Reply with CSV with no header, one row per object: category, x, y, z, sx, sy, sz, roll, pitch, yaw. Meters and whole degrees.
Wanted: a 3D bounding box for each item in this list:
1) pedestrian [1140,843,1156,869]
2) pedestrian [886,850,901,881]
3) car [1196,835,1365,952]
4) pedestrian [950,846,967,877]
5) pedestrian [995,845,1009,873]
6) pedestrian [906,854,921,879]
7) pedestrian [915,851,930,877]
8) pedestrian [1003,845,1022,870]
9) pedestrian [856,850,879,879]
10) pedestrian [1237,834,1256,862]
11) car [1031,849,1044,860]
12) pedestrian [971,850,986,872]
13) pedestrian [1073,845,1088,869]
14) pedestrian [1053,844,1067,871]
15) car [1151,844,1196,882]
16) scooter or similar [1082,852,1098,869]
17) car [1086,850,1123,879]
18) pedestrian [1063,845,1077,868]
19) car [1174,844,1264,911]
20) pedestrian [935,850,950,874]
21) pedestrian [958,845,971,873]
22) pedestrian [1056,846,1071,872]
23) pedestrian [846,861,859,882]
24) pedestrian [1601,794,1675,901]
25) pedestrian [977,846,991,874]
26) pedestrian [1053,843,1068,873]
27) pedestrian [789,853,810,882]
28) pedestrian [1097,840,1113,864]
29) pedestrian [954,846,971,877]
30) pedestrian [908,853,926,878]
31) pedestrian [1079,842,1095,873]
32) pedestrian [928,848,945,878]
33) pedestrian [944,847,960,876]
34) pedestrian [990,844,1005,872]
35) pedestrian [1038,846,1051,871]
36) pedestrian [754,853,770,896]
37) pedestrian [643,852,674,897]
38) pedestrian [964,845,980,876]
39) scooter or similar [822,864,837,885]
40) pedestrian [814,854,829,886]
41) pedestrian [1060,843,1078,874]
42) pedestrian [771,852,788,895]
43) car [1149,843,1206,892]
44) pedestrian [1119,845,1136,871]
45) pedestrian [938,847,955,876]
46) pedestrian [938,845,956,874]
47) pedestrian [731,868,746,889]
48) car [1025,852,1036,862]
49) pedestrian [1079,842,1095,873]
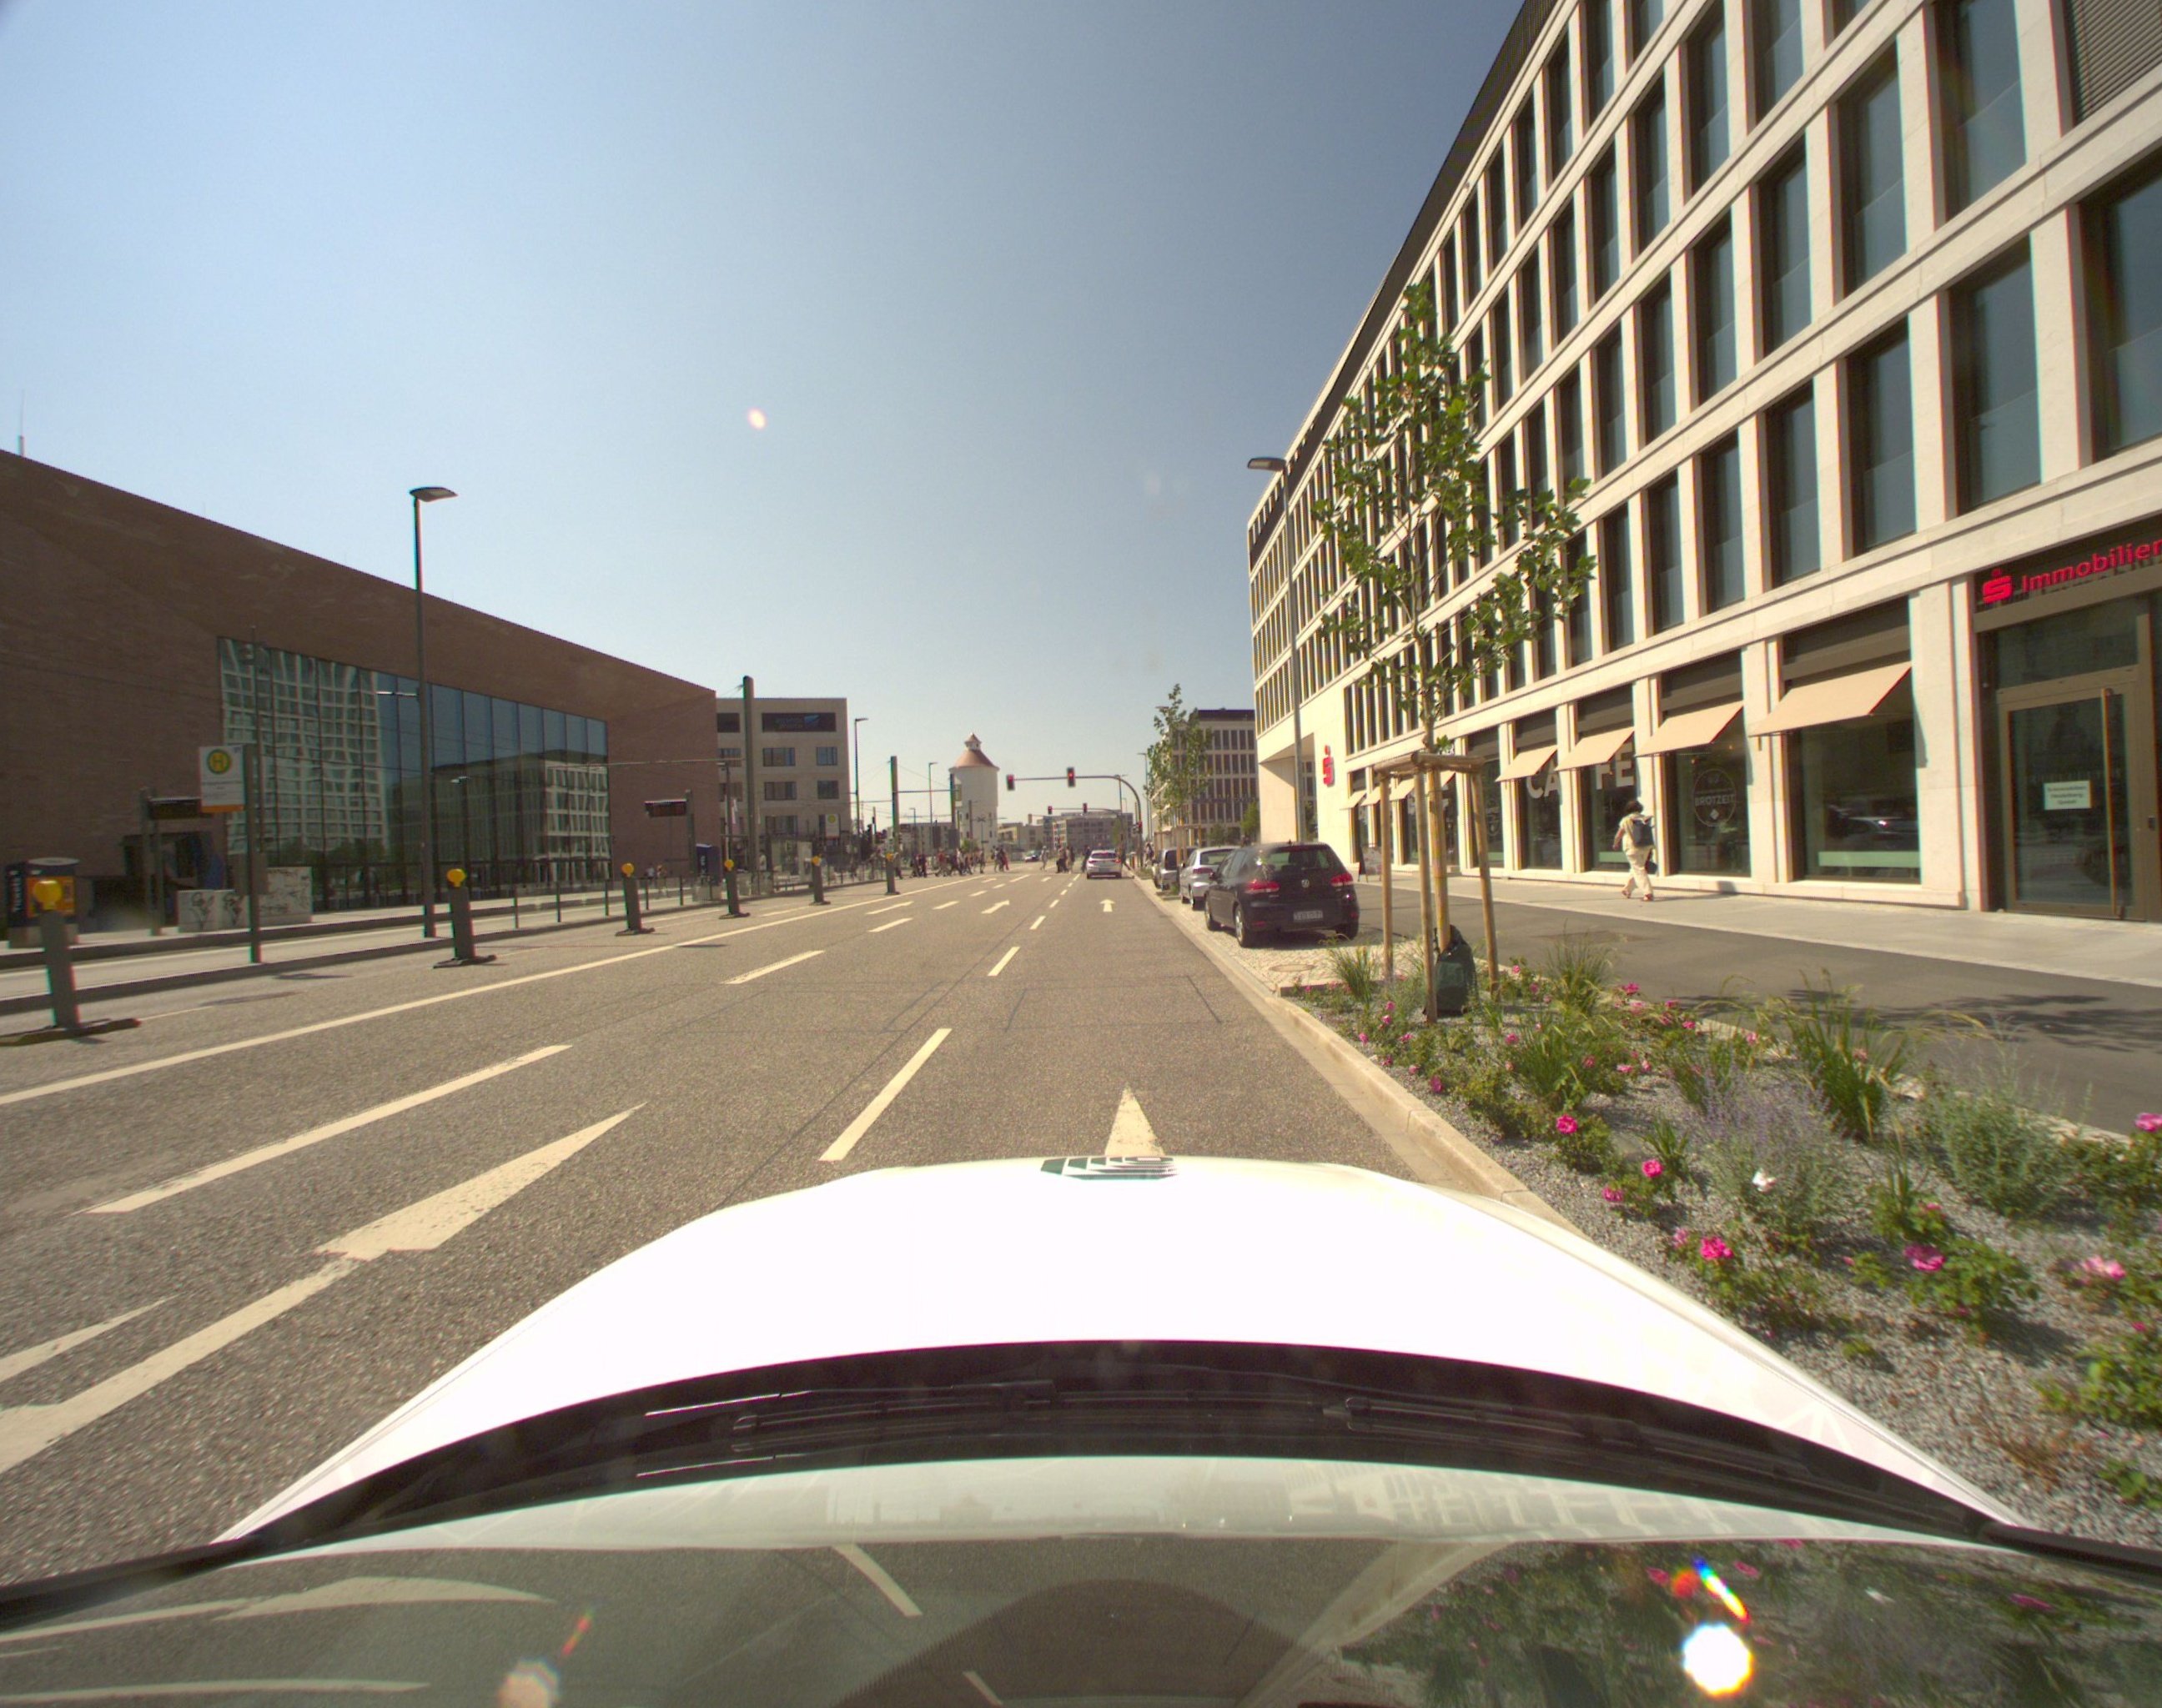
pedestrian,4.333,0.120,52.589,0.760,1.619,0.695,-3,0,18
pedestrian,-11.958,0.730,51.983,0.634,1.890,0.797,-3,0,3
car,3.023,0.520,13.192,1.730,1.474,3.981,-5,1,1
pedestrian,-7.681,0.467,50.944,0.886,1.890,0.691,-3,0,-4
pedestrian,-5.384,0.342,55.623,0.763,1.890,0.692,-3,0,2
pedestrian,-11.145,0.837,54.069,0.724,1.576,0.642,-3,0,6
pedestrian,-10.188,0.663,52.476,0.630,1.618,0.770,-3,0,7
pedestrian,-5.247,0.246,62.379,1.175,1.820,1.070,-3,0,5
pedestrian,-14.859,0.731,56.675,1.164,1.890,1.061,-3,2,3
pedestrian,10.402,-0.387,51.180,0.986,1.655,0.692,-3,0,3
car,-6.349,0.111,119.077,1.581,1.530,3.693,-2,0,0
pedestrian,-7.811,0.520,62.343,0.883,1.646,0.798,-3,0,5
pedestrian,-0.056,0.236,57.655,0.883,1.646,0.798,-3,0,5
pedestrian,-1.387,0.243,54.077,0.763,1.733,0.692,-3,0,2
car,3.738,0.314,33.310,1.424,1.390,4.001,-3,1,1
scooter or similar,0.619,0.439,56.629,0.950,1.117,0.765,-3,0,-8
car,1.254,0.556,42.031,1.764,1.395,3.535,-2,-1,3
pedestrian,-0.851,0.183,61.321,0.883,1.646,0.798,-3,0,5
car,3.374,0.514,20.494,1.599,1.387,3.816,-6,0,2
pedestrian,-9.909,0.583,58.220,0.896,1.673,1.007,-3,0,-17
pedestrian,-8.154,0.342,56.960,0.730,1.890,0.715,-1,0,6
pedestrian,-1.148,0.301,53.032,0.790,1.646,0.891,-3,0,3
pedestrian,-18.888,1.419,67.216,0.663,1.681,0.700,-3,0,42
pedestrian,9.454,-0.110,13.851,0.625,1.742,0.814,-3,0,1
pedestrian,-6.526,0.399,54.850,0.763,1.890,0.692,-3,0,2
pedestrian,-1.337,0.255,52.149,0.726,1.890,0.822,-3,0,7
pedestrian,-19.259,0.919,55.735,0.974,1.890,0.827,-3,0,2
pedestrian,1.632,-0.132,56.411,0.887,1.646,0.794,-3,0,-8
pedestrian,-7.534,0.461,51.716,0.886,1.890,0.691,-3,0,-4
pedestrian,-11.294,0.792,56.129,0.906,1.637,0.815,-3,0,6
pedestrian,0.380,0.217,51.674,0.886,1.890,0.795,-3,0,-4
pedestrian,-9.394,0.557,52.878,0.886,1.890,0.691,-3,0,-4
pedestrian,-8.793,0.494,55.561,0.884,1.890,0.797,-3,0,1
pedestrian,-5.787,0.286,56.642,0.837,1.890,0.692,-3,0,2
pedestrian,-2.547,0.314,56.489,0.763,1.733,0.692,-3,0,2
pedestrian,-13.508,0.858,34.493,0.551,1.820,0.596,-2,0,-20
pedestrian,-17.633,0.848,34.006,0.808,1.820,0.825,-2,0,2
pedestrian,-7.011,0.414,52.549,0.886,1.890,0.691,-3,0,-4
scooter or similar,-13.425,1.091,43.485,0.502,1.059,0.834,-3,0,1
pedestrian,-13.570,0.830,42.615,0.502,1.621,0.650,-3,0,1
pedestrian,-0.729,0.281,50.623,1.010,1.890,0.798,-3,0,-1
pedestrian,-13.267,0.844,35.837,0.665,1.820,0.718,-2,0,-21
car,3.330,0.431,28.587,1.550,1.472,3.471,-6,0,1
pedestrian,2.952,0.249,51.721,0.886,1.634,0.691,-3,0,-4
pedestrian,-8.991,0.489,54.448,0.883,1.890,0.798,-3,0,6
pedestrian,-9.787,0.387,59.432,1.022,2.013,0.949,-3,0,-17
pedestrian,-27.205,1.935,64.702,0.708,1.571,0.891,-3,0,1
car,-8.412,0.489,135.995,1.580,1.530,3.260,-2,0,2
pedestrian,0.394,0.229,52.524,0.886,1.890,0.795,-3,0,-4
